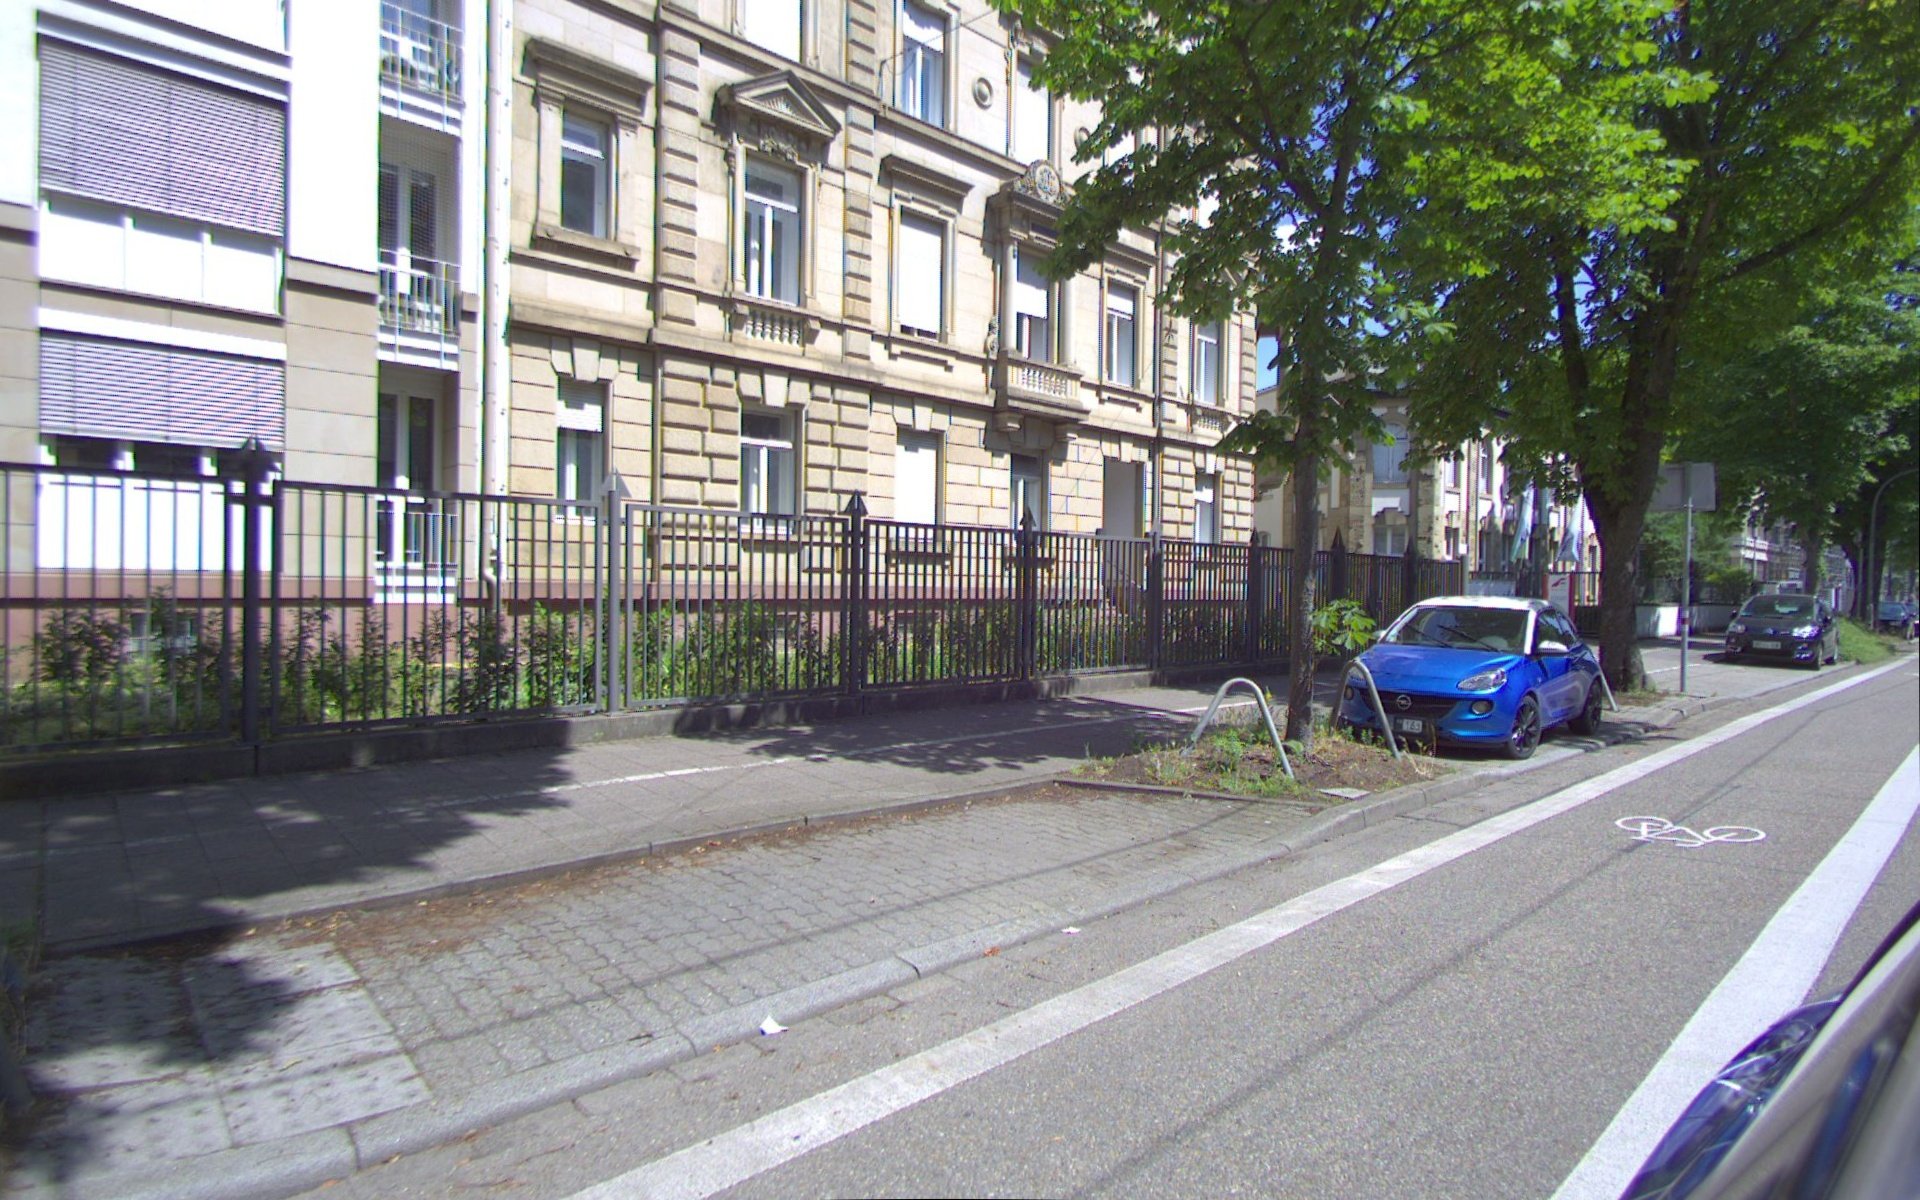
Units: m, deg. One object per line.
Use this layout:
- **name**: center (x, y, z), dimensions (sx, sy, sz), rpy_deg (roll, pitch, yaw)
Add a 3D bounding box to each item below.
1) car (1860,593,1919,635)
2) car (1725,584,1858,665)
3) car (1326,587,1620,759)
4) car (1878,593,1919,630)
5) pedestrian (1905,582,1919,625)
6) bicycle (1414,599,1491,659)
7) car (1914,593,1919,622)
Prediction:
- **car**: center (34.951, 0.487, 37.743), dimensions (3.758, 1.420, 1.625), rpy_deg (0, 4, -43)
- **car**: center (19.169, 0.500, 23.271), dimensions (4.014, 1.636, 1.733), rpy_deg (0, 3, -42)
- **car**: center (5.468, 0.624, 10.629), dimensions (3.415, 1.471, 1.693), rpy_deg (0, 1, -43)
- **car**: center (39.549, 0.461, 42.100), dimensions (3.932, 1.420, 1.625), rpy_deg (0, 4, -43)
- **pedestrian**: center (42.194, 0.170, 44.491), dimensions (0.724, 1.873, 0.648), rpy_deg (1, 1, -16)
- **bicycle**: center (9.517, 0.537, 19.514), dimensions (1.945, 1.084, 0.609), rpy_deg (0, 1, -41)
- **car**: center (49.048, 0.426, 50.585), dimensions (3.932, 1.420, 1.625), rpy_deg (0, 4, -43)
